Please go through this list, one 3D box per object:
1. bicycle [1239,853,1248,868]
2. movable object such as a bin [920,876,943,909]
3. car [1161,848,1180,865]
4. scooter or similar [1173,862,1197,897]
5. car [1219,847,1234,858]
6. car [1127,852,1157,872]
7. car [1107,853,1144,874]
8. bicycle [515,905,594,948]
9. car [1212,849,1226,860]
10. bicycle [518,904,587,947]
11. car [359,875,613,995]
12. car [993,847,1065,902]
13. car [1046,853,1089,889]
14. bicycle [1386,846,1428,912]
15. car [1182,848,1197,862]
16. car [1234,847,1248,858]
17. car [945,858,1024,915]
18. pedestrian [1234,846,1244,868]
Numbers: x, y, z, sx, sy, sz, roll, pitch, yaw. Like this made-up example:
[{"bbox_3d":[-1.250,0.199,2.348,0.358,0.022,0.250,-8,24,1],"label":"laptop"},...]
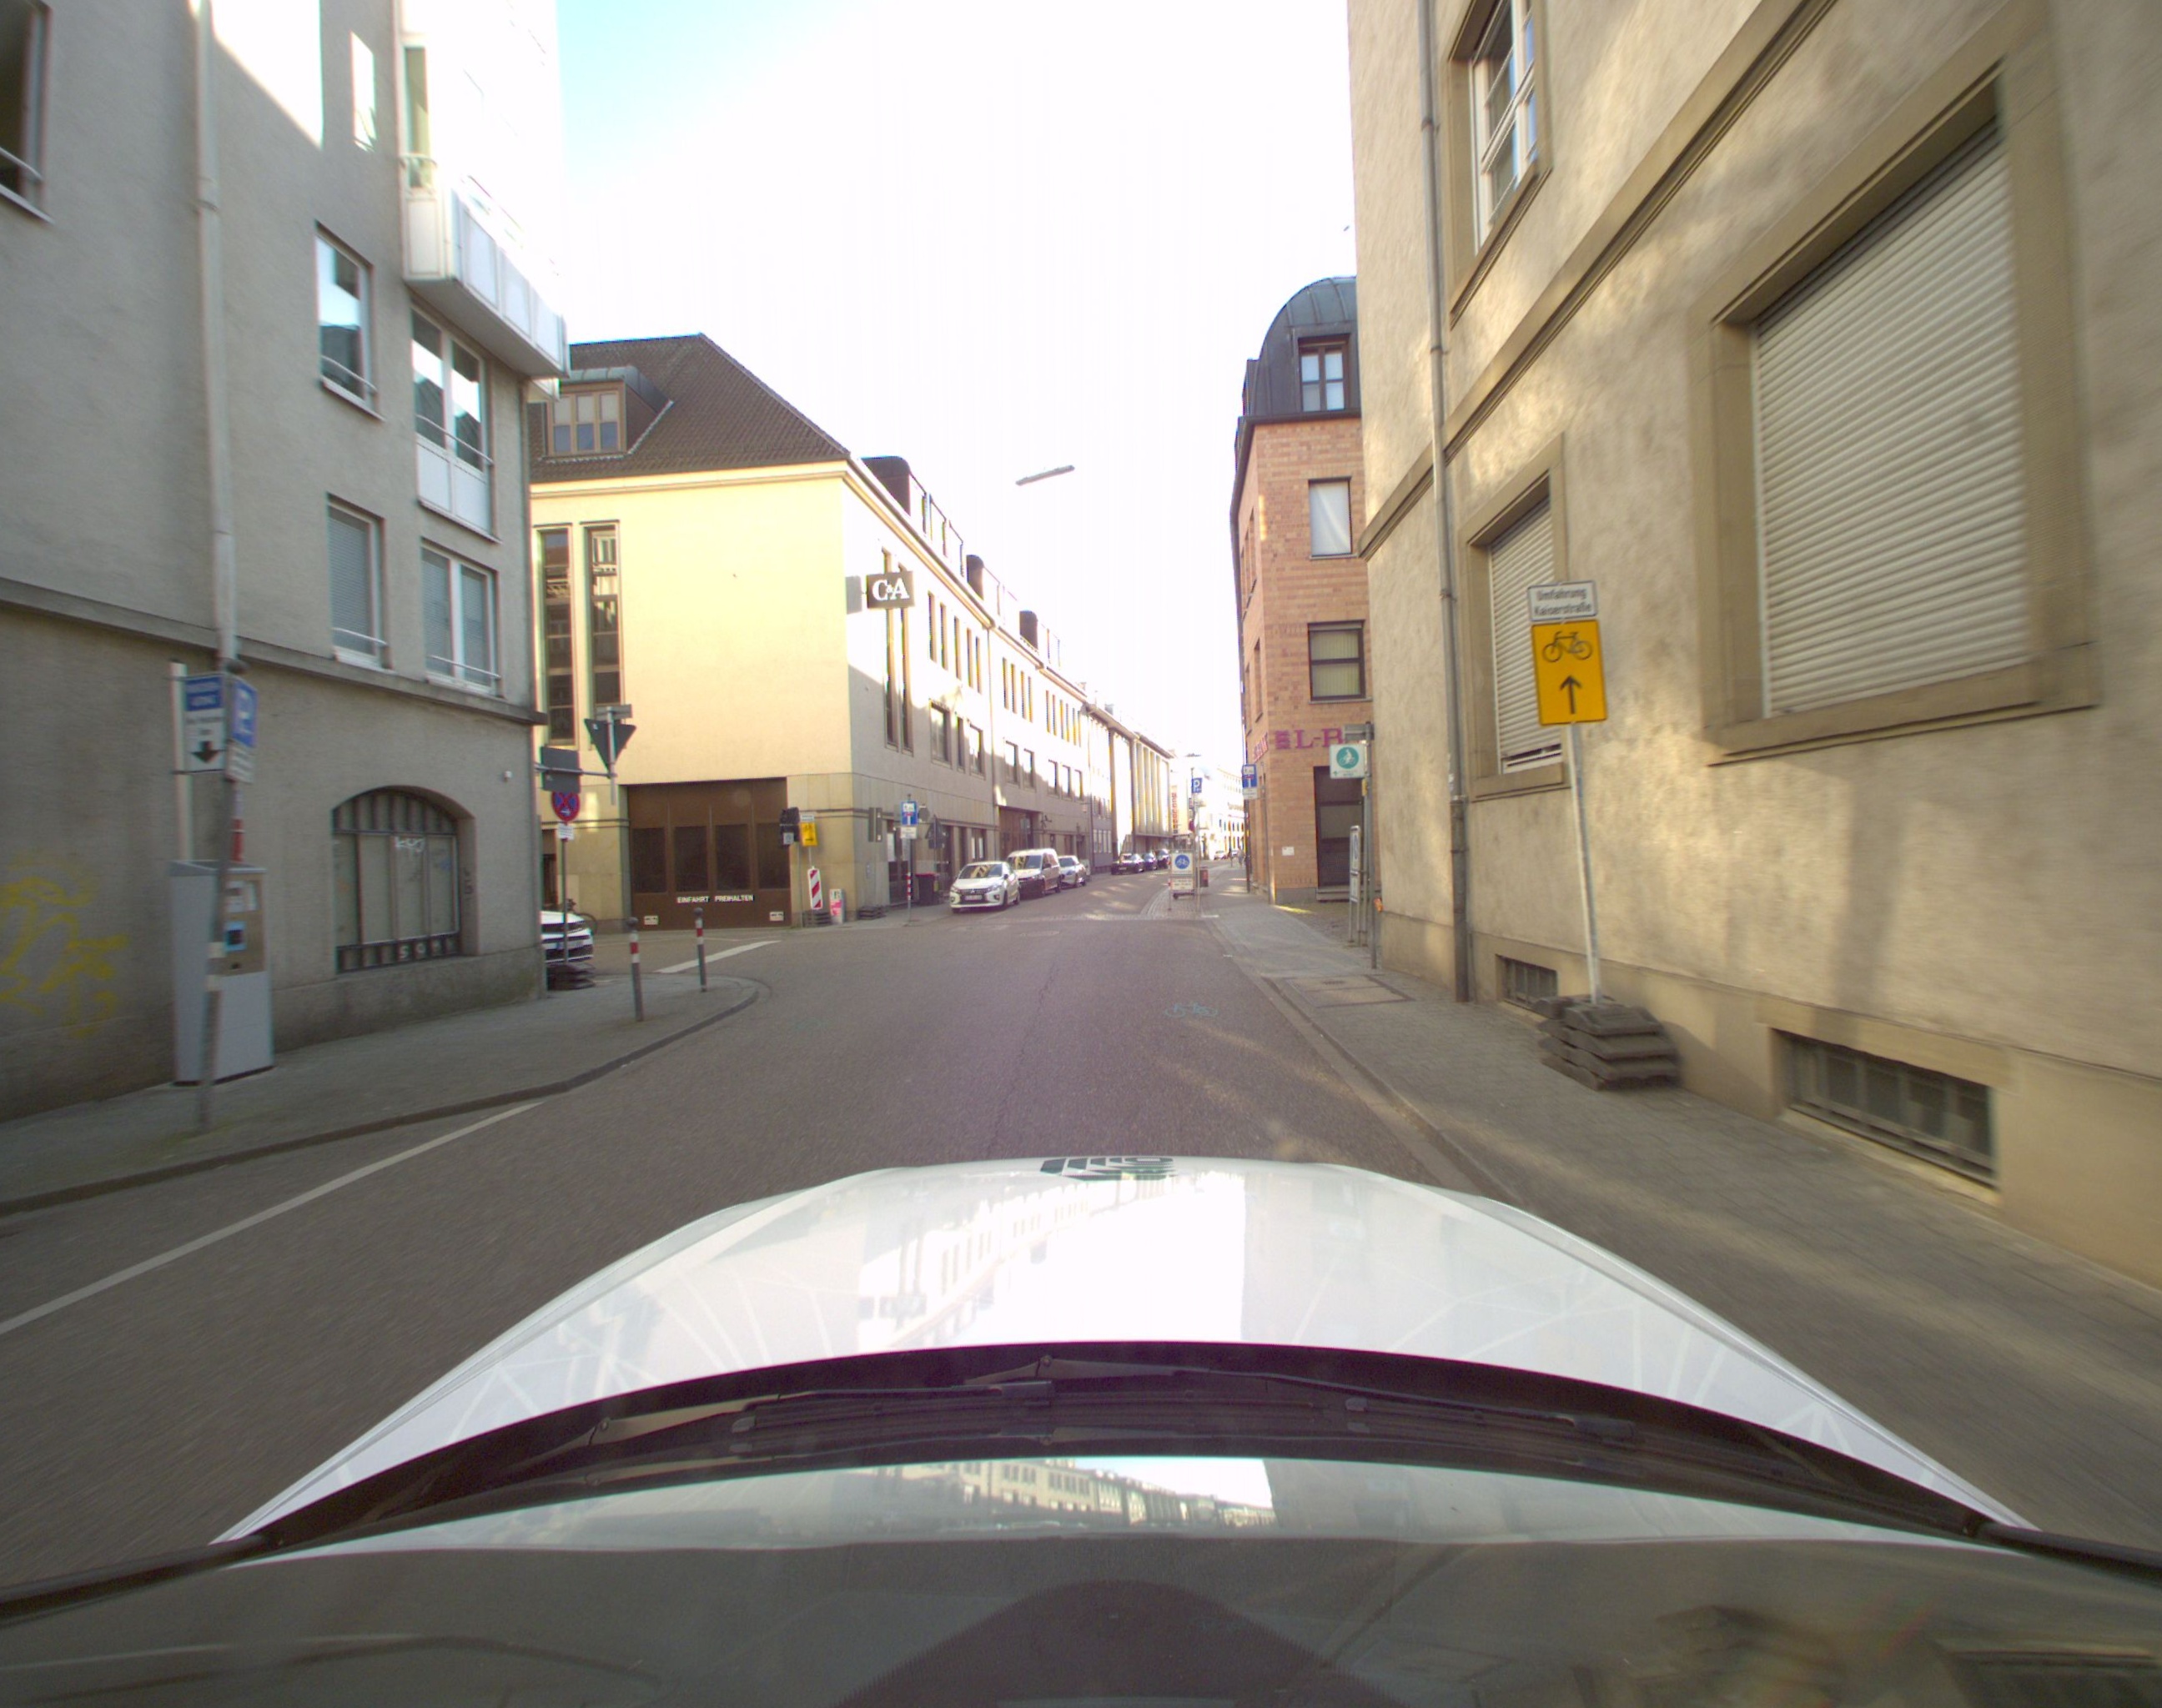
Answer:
[{"bbox_3d":[11.676,0.457,58.419,0.508,0.994,2.655,-2,0,10],"label":"bicycle"},{"bbox_3d":[-4.908,1.248,26.772,0.606,1.060,0.713,0,-1,0],"label":"movable object such as a bin"},{"bbox_3d":[8.504,0.266,77.122,1.329,1.494,3.523,-3,0,13],"label":"car"},{"bbox_3d":[3.409,0.844,26.590,0.767,1.136,0.270,0,-1,5],"label":"scooter or similar"},{"bbox_3d":[20.576,-0.221,114.809,1.677,1.370,3.633,-3,0,15],"label":"car"},{"bbox_3d":[4.825,0.599,63.992,1.712,1.340,4.015,-3,0,13],"label":"car"},{"bbox_3d":[3.225,0.639,57.821,1.868,1.332,4.115,-3,0,13],"label":"car"},{"bbox_3d":[-13.200,1.820,20.437,1.693,0.965,0.224,-2,0,-8],"label":"bicycle"},{"bbox_3d":[20.137,0.050,118.639,1.677,1.370,3.633,-3,0,15],"label":"car"},{"bbox_3d":[-13.412,1.804,20.688,1.481,1.004,0.270,-2,0,-6],"label":"bicycle"},{"bbox_3d":[-9.831,1.283,13.425,3.949,1.655,1.774,-3,0,28],"label":"car"},{"bbox_3d":[-1.910,0.721,31.347,1.660,1.818,4.563,-4,0,9],"label":"car"},{"bbox_3d":[-0.570,0.745,37.478,1.263,1.507,3.411,-4,0,10],"label":"car"},{"bbox_3d":[6.894,0.498,17.292,0.546,1.317,1.654,-3,0,14],"label":"bicycle"},{"bbox_3d":[12.566,0.107,94.354,1.329,1.494,3.359,-3,0,13],"label":"car"},{"bbox_3d":[23.732,-0.226,121.031,1.677,1.370,3.633,-3,0,15],"label":"car"},{"bbox_3d":[-2.945,0.957,25.520,1.663,1.507,3.798,-4,0,4],"label":"car"},{"bbox_3d":[12.648,0.237,65.174,0.662,1.730,0.840,0,-1,3],"label":"pedestrian"}]
